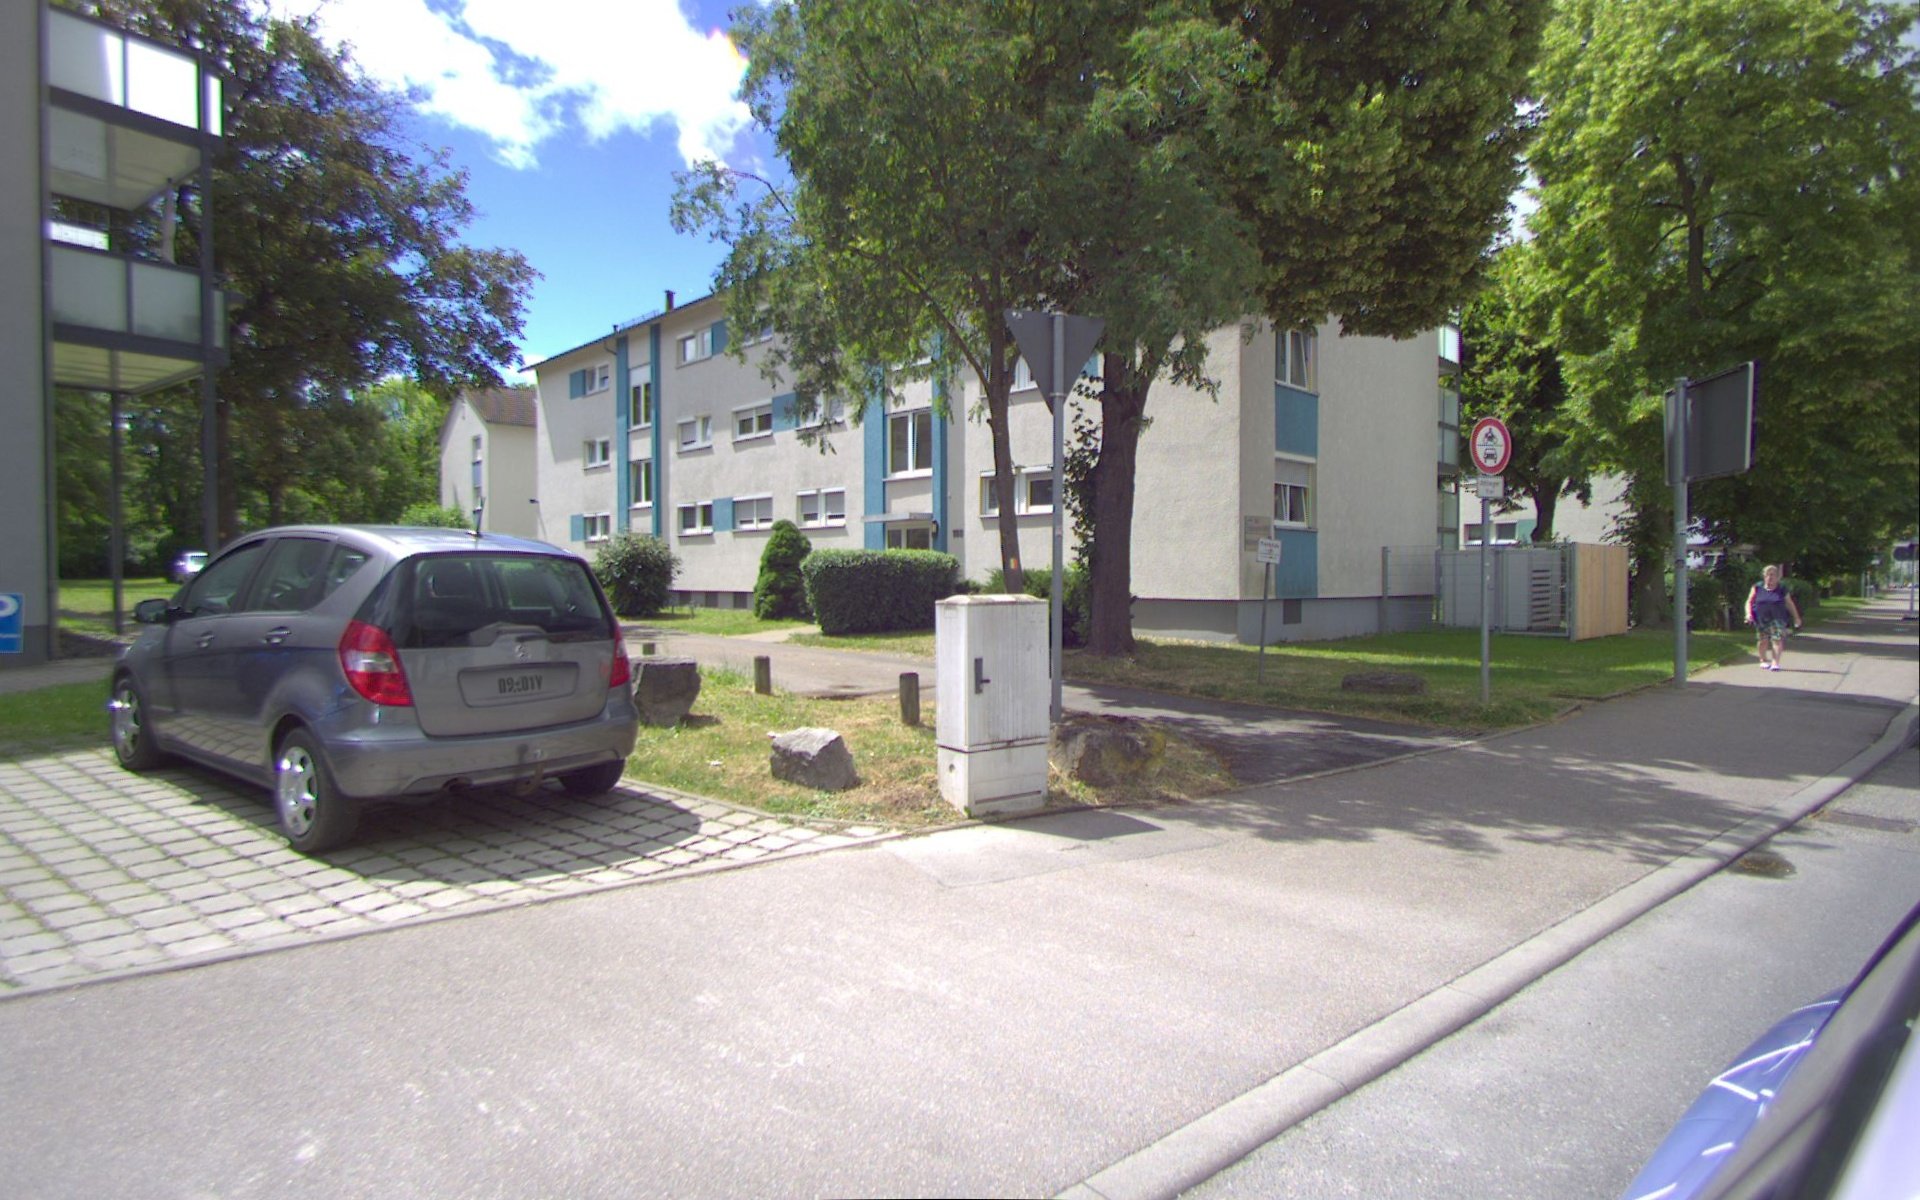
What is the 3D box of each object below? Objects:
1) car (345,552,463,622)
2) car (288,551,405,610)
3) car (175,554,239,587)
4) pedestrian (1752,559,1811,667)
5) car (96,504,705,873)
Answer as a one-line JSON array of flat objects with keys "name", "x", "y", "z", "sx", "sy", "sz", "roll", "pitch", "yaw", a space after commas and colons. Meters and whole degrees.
[{"name": "car", "x": -13.178, "y": -0.291, "z": 23.881, "sx": 1.700, "sy": 1.521, "sz": 3.876, "roll": -1, "pitch": 0, "yaw": -40}, {"name": "car", "x": -17.038, "y": -0.563, "z": 28.026, "sx": 3.989, "sy": 1.522, "sz": 1.888, "roll": 2, "pitch": 2, "yaw": 45}, {"name": "car", "x": -33.170, "y": -1.279, "z": 44.525, "sx": 1.965, "sy": 1.329, "sz": 3.993, "roll": -1, "pitch": 1, "yaw": -41}, {"name": "pedestrian", "x": 13.186, "y": 0.189, "z": 16.261, "sx": 0.681, "sy": 1.681, "sz": 0.820, "roll": 2, "pitch": 2, "yaw": 39}, {"name": "car", "x": -3.574, "y": 0.257, "z": 6.262, "sx": 3.722, "sy": 1.576, "sz": 2.004, "roll": 4, "pitch": 3, "yaw": 38}]
